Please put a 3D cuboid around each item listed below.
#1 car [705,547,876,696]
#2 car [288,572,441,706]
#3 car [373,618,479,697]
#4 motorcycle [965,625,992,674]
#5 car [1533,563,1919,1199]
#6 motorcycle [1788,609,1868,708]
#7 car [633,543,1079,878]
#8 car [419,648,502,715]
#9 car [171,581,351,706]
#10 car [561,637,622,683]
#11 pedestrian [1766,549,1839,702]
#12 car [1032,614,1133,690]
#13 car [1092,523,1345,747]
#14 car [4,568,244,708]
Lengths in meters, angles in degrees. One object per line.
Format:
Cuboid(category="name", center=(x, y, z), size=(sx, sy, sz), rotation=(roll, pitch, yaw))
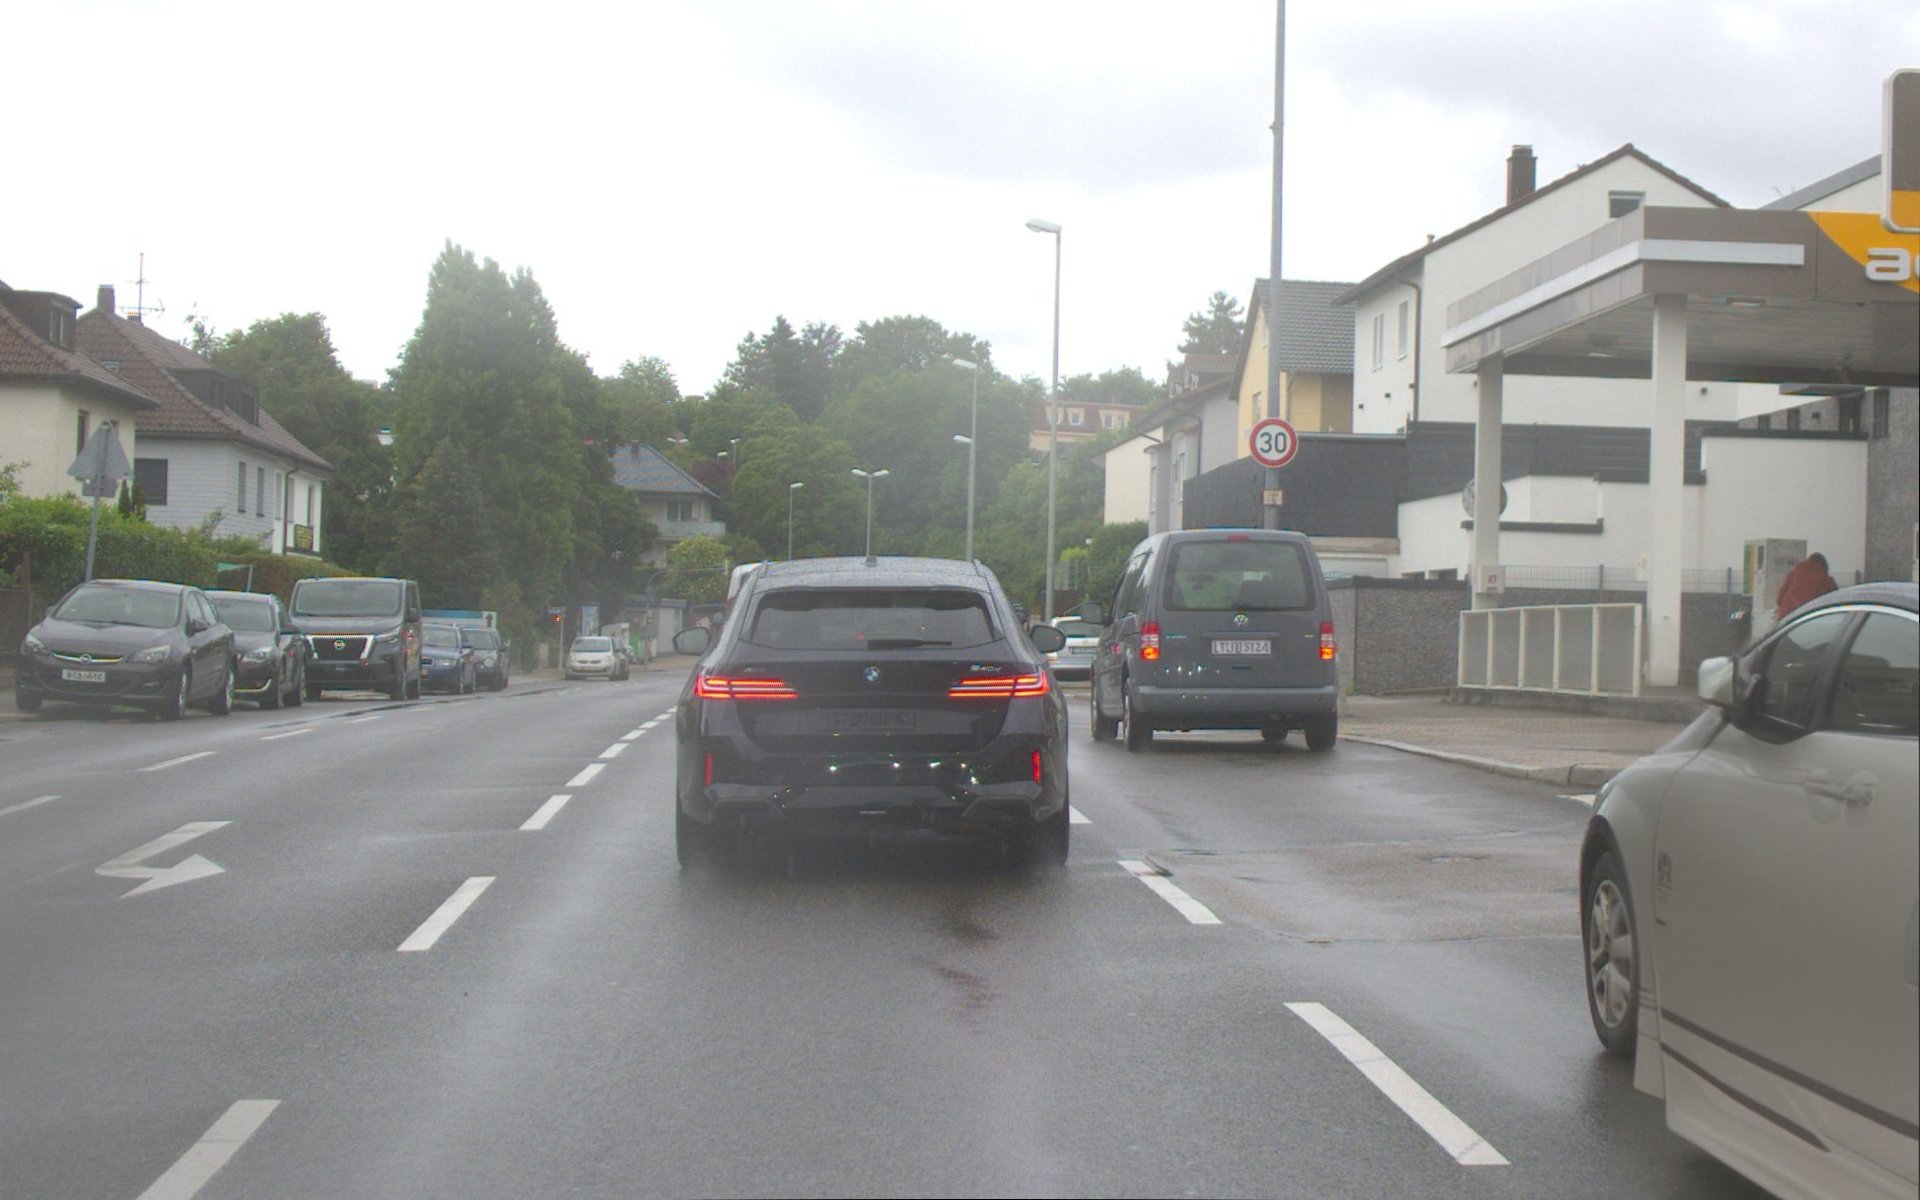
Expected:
Cuboid(category="car", center=(-2.088, 0.294, 42.811), size=(1.993, 1.732, 4.000), rotation=(1, -1, -2))
Cuboid(category="car", center=(-9.423, 0.645, 54.726), size=(1.912, 1.996, 5.088), rotation=(1, -1, -5))
Cuboid(category="car", center=(-10.857, 1.179, 70.114), size=(1.757, 1.527, 4.287), rotation=(1, -1, -4))
Cuboid(category="motorcycle", center=(0.577, 1.566, 107.449), size=(0.703, 1.504, 2.150), rotation=(-1, -1, -2))
Cuboid(category="car", center=(2.819, 0.653, 8.862), size=(1.756, 1.444, 4.001), rotation=(1, 0, -4))
Cuboid(category="motorcycle", center=(9.452, 0.639, 37.466), size=(0.462, 1.052, 1.390), rotation=(1, -1, -2))
Cuboid(category="car", center=(-0.531, 0.542, 17.568), size=(1.993, 1.479, 4.000), rotation=(1, -1, -2))
Cuboid(category="car", center=(-11.061, 1.804, 76.287), size=(1.551, 1.426, 4.015), rotation=(1, -1, -5))
Cuboid(category="car", center=(-9.042, 0.582, 44.773), size=(1.750, 1.512, 4.528), rotation=(1, -1, -5))
Cuboid(category="car", center=(-13.158, 2.167, 122.917), size=(1.884, 1.580, 4.000), rotation=(1, -1, -2))
Cuboid(category="pedestrian", center=(9.228, 0.287, 37.666), size=(0.610, 1.650, 0.585), rotation=(1, -1, -2))
Cuboid(category="car", center=(2.529, 1.107, 71.962), size=(1.700, 1.505, 4.534), rotation=(1, -1, -3))
Cuboid(category="car", center=(2.152, 0.323, 29.588), size=(1.838, 1.761, 4.000), rotation=(1, -1, 0))
Cuboid(category="car", center=(-9.220, 0.445, 38.215), size=(1.750, 1.435, 4.130), rotation=(1, -1, -2))
